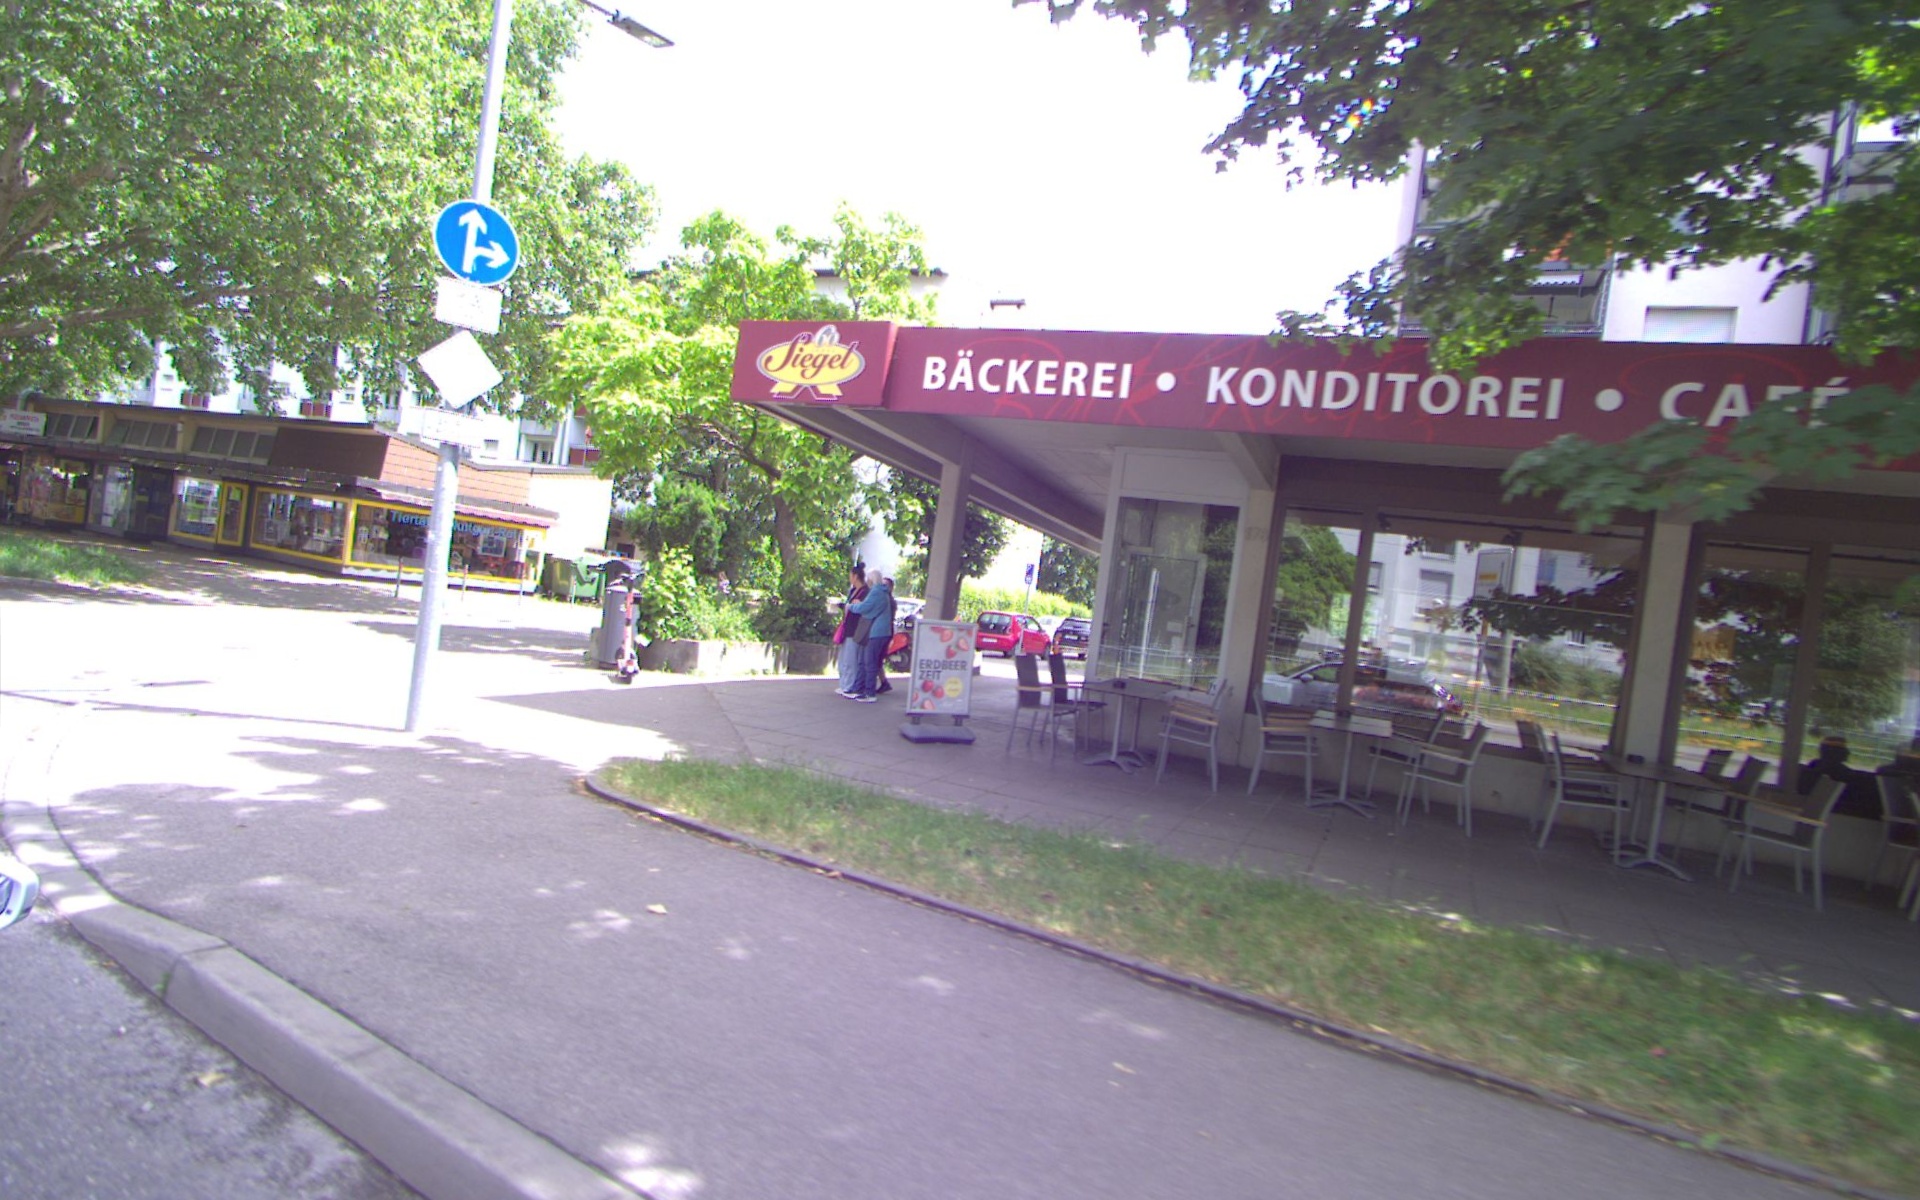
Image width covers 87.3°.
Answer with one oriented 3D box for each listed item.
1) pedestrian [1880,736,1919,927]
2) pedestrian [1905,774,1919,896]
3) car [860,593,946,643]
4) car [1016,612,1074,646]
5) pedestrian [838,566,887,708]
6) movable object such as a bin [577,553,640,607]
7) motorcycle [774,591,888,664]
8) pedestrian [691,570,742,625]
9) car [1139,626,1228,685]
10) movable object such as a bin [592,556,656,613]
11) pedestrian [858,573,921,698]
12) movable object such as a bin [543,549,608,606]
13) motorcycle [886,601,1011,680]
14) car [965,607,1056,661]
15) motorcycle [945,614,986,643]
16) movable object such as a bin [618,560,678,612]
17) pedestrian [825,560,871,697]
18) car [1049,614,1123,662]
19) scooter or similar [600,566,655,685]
[{"bbox_3d":[7.209,1.688,7.042,0.811,1.284,0.673,8,3,23],"label":"pedestrian"},{"bbox_3d":[7.800,1.697,7.602,0.662,1.284,0.676,6,2,25],"label":"pedestrian"},{"bbox_3d":[-2.052,0.702,37.302,1.627,1.504,3.466,7,0,25],"label":"car"},{"bbox_3d":[4.396,1.508,51.449,1.700,1.459,3.512,7,0,25],"label":"car"},{"bbox_3d":[-1.181,0.437,12.116,0.393,1.652,0.443,6,1,-8],"label":"pedestrian"},{"bbox_3d":[-10.735,-0.600,30.763,1.191,1.431,1.177,10,3,29],"label":"movable object such as a bin"},{"bbox_3d":[-2.590,0.549,20.160,2.105,1.210,0.737,6,1,-15],"label":"motorcycle"},{"bbox_3d":[-7.613,-0.068,31.485,1.082,1.494,0.809,11,3,28],"label":"pedestrian"},{"bbox_3d":[6.721,1.664,30.025,1.718,1.455,3.487,7,0,26],"label":"car"},{"bbox_3d":[-9.775,-0.443,29.267,1.124,1.431,1.183,10,3,29],"label":"movable object such as a bin"},{"bbox_3d":[-0.936,0.457,13.251,0.505,1.571,0.529,6,1,-26],"label":"pedestrian"},{"bbox_3d":[-11.350,-0.656,29.698,1.191,1.431,1.177,10,3,29],"label":"movable object such as a bin"},{"bbox_3d":[-0.229,0.746,18.739,2.104,1.210,0.738,7,1,-13],"label":"motorcycle"},{"bbox_3d":[1.725,1.139,32.970,1.609,1.455,3.487,7,0,26],"label":"car"},{"bbox_3d":[0.225,1.190,41.860,1.596,1.004,0.454,7,1,28],"label":"motorcycle"},{"bbox_3d":[-9.799,-0.429,31.619,1.124,1.431,1.183,10,3,29],"label":"movable object such as a bin"},{"bbox_3d":[-1.413,0.352,12.646,0.393,1.652,0.443,6,1,-8],"label":"pedestrian"},{"bbox_3d":[5.028,1.531,39.709,1.611,1.571,3.842,7,0,26],"label":"car"},{"bbox_3d":[-4.027,0.277,12.139,0.372,1.324,1.224,6,0,-25],"label":"scooter or similar"}]
